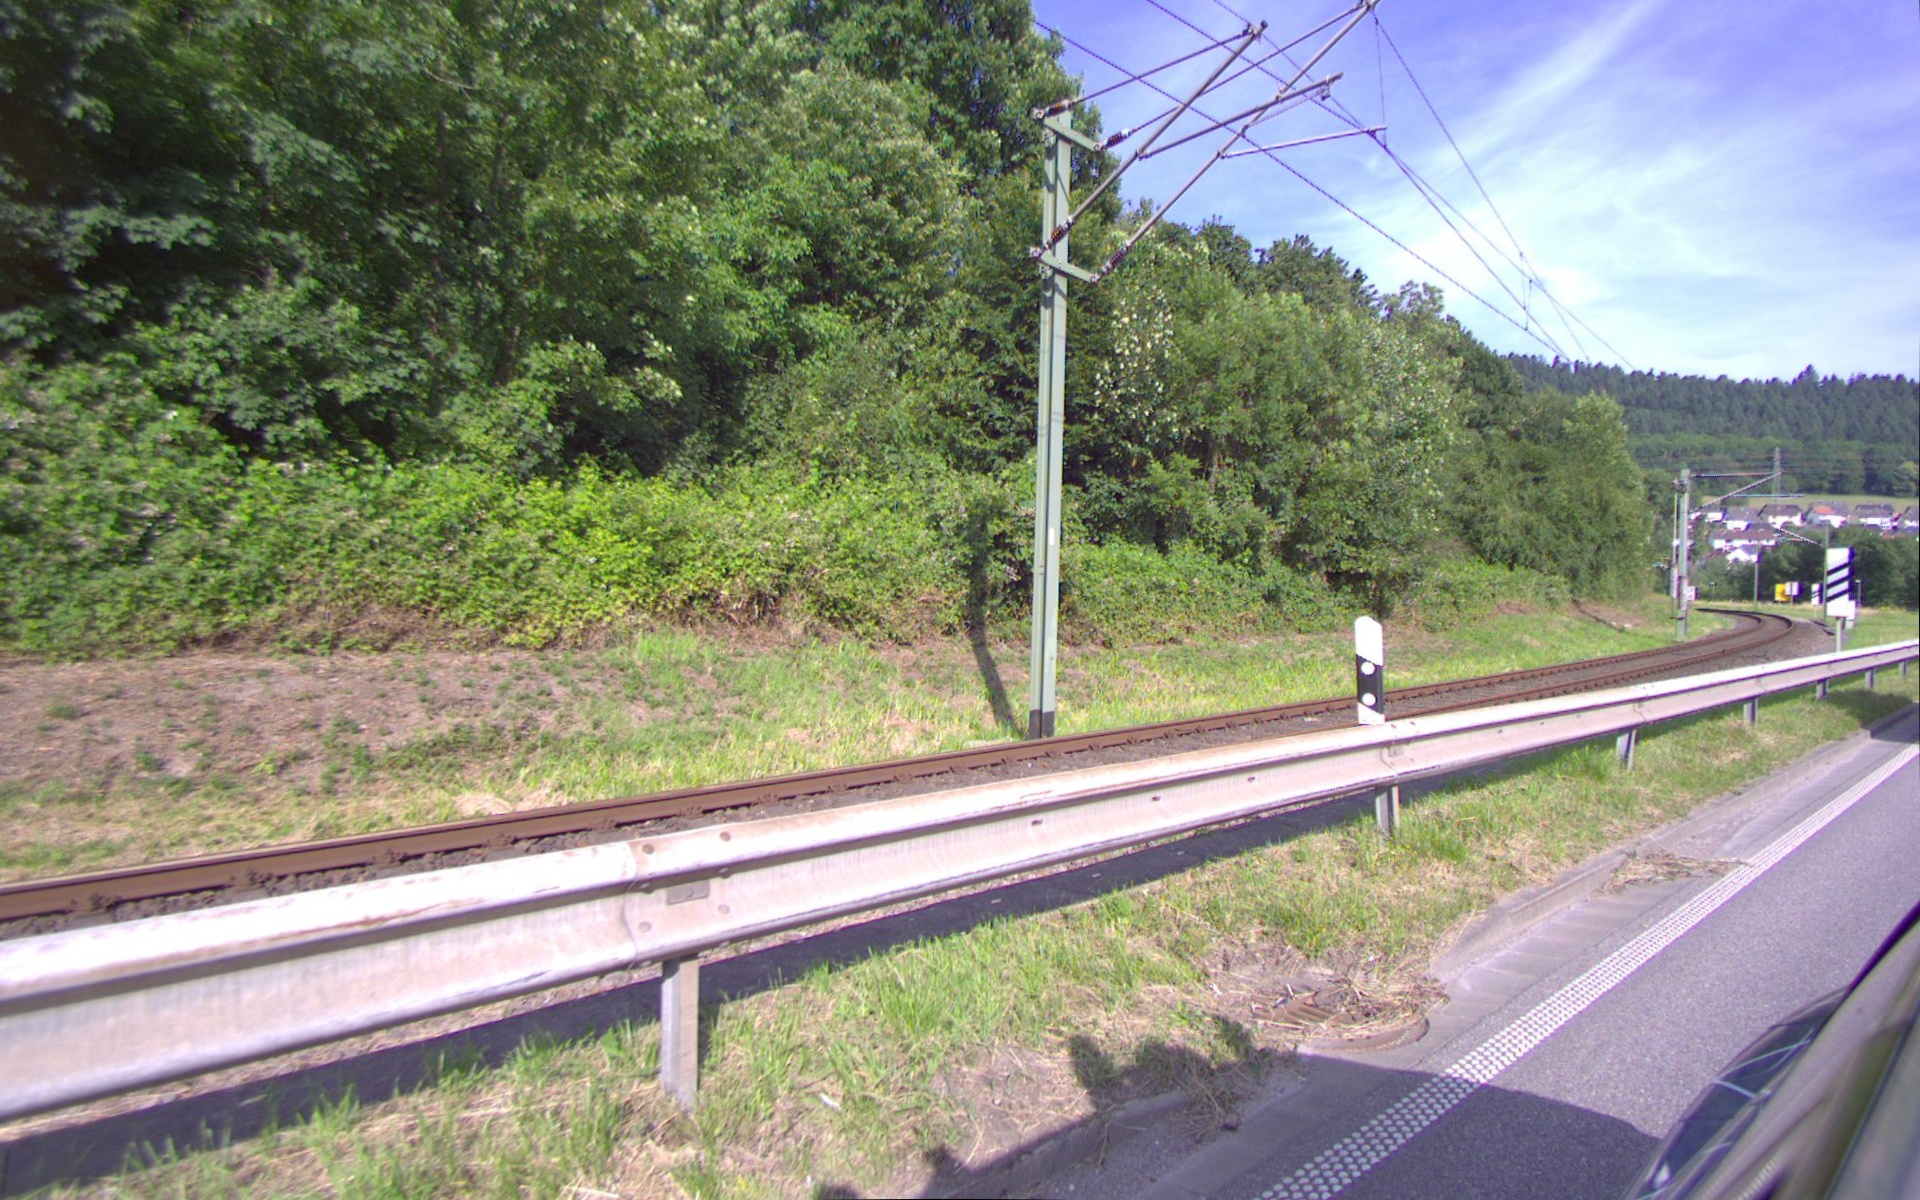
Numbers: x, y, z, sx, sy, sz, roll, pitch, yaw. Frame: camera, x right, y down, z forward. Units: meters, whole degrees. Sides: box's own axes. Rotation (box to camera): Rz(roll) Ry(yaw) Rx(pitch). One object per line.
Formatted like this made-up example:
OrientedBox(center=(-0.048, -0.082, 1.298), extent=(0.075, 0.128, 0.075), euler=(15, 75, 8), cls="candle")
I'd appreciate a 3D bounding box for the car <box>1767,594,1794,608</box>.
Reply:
OrientedBox(center=(121.676, 0.194, 150.114), extent=(1.976, 2.039, 3.973), euler=(0, 0, 21), cls="car")
